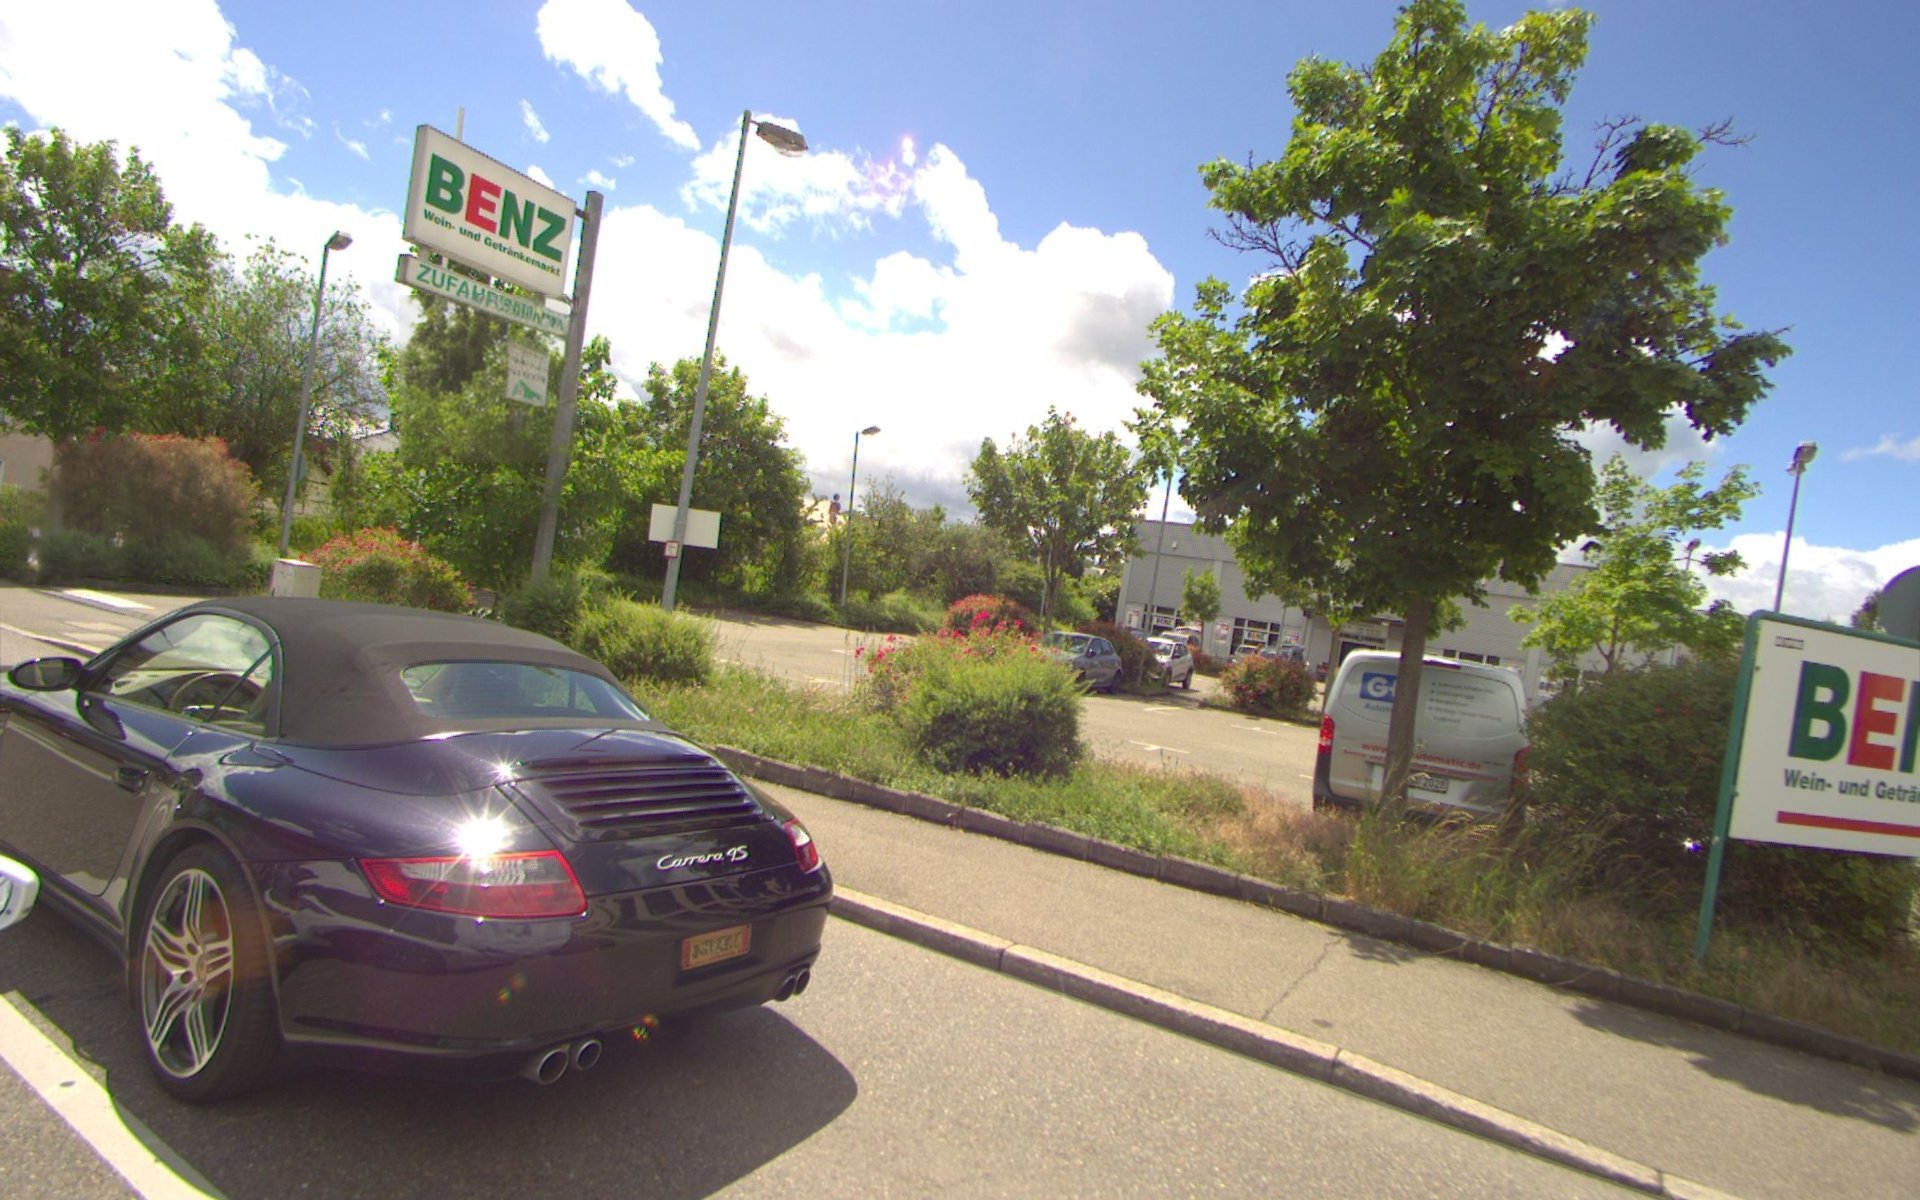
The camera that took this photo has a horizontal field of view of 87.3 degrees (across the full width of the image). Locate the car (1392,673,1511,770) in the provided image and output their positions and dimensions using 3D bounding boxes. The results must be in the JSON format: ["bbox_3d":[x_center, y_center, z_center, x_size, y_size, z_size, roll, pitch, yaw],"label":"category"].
[{"bbox_3d":[10.371,2.438,21.070,1.856,1.509,4.441,8,0,29],"label":"car"}]

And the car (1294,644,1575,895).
[{"bbox_3d":[5.098,1.575,11.049,2.051,1.871,4.719,7,0,24],"label":"car"}]

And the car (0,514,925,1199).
[{"bbox_3d":[-2.466,0.638,4.073,4.137,1.393,1.934,9,0,32],"label":"car"}]

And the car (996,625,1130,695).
[{"bbox_3d":[2.683,1.538,25.388,1.856,1.386,3.878,8,0,29],"label":"car"}]

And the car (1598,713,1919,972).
[{"bbox_3d":[7.529,2.059,9.765,1.967,1.500,4.438,7,0,31],"label":"car"}]
